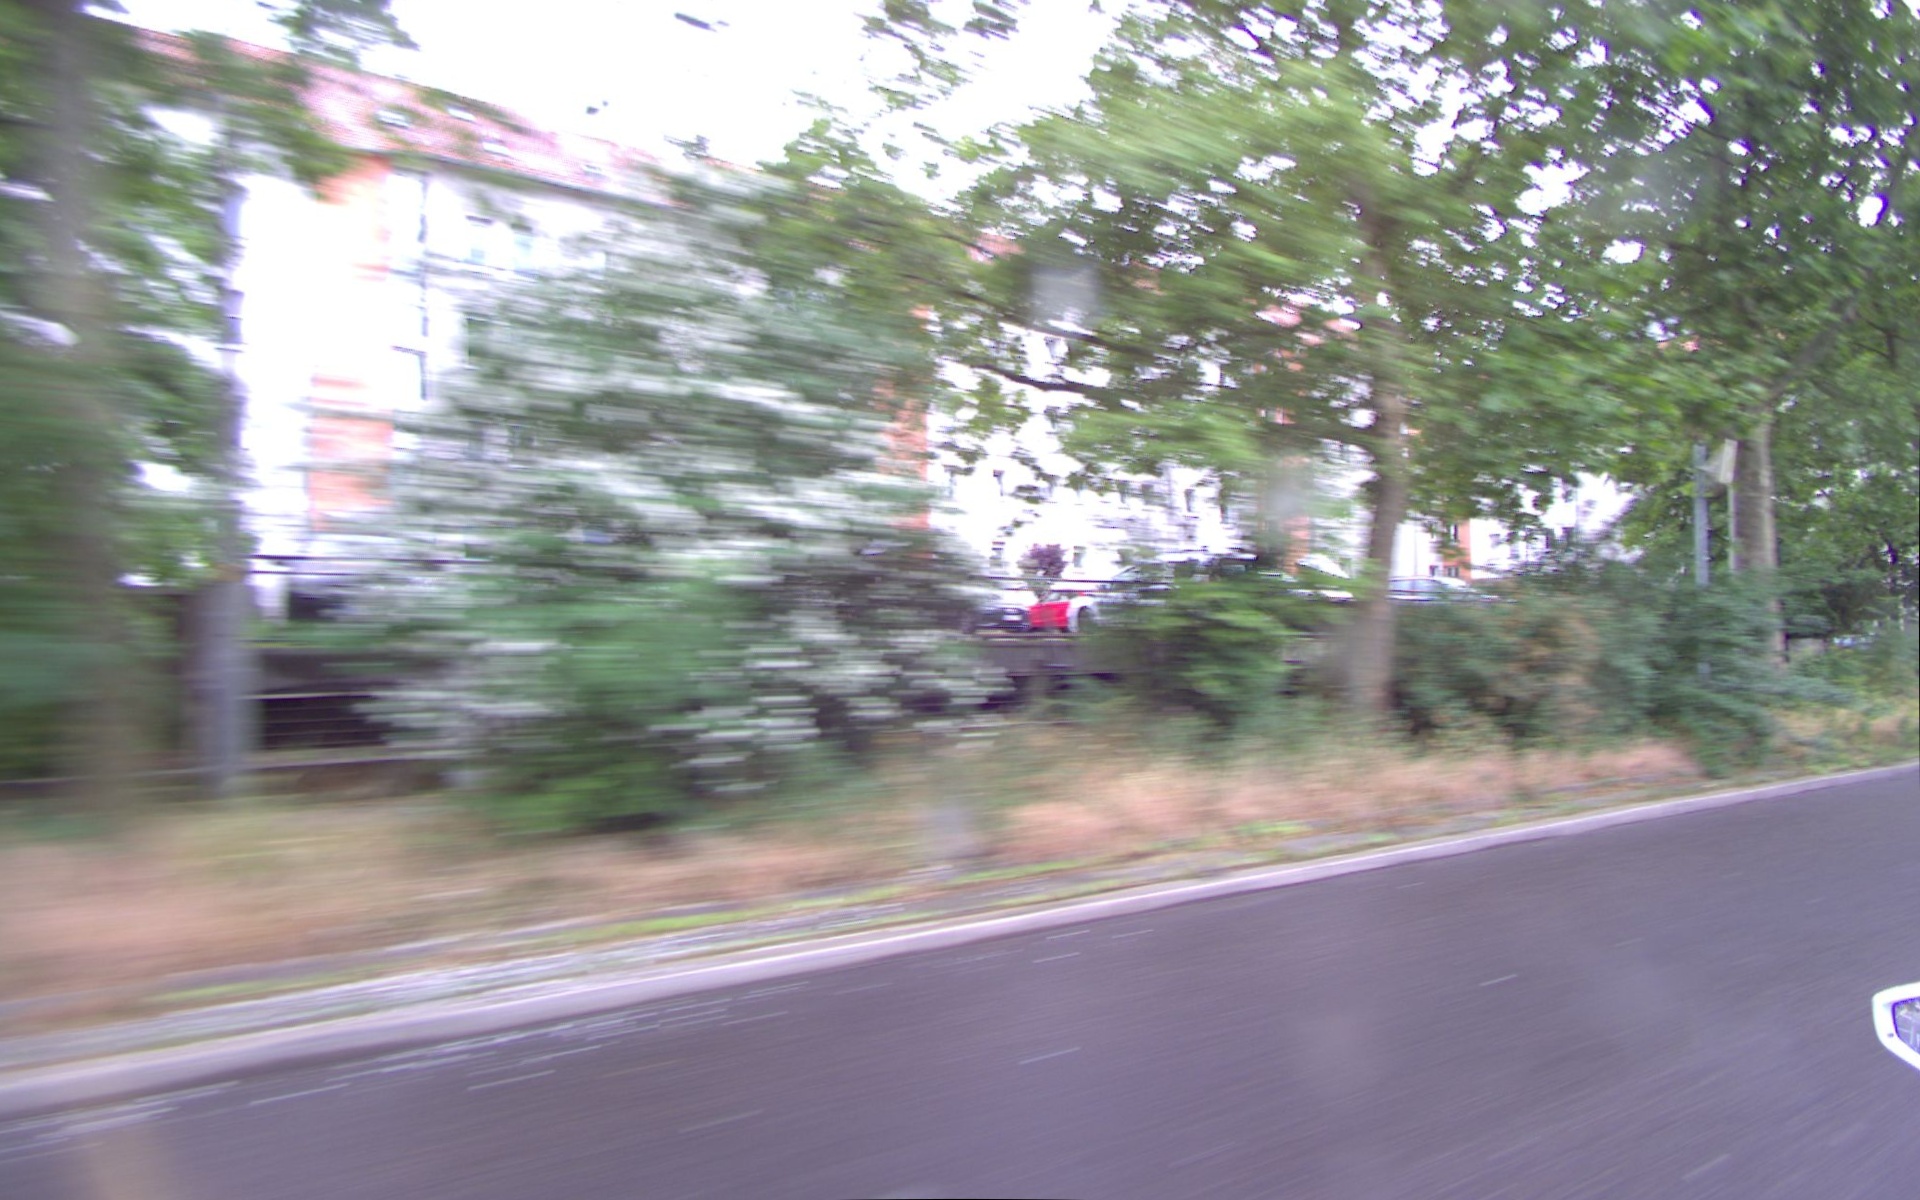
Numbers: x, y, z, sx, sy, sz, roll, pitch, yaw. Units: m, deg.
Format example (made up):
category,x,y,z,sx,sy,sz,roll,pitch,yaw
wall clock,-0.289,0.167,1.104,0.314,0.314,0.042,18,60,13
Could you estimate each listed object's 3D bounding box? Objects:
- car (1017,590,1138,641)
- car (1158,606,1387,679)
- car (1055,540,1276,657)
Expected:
category,x,y,z,sx,sy,sz,roll,pitch,yaw
car,3.527,0.509,30.855,1.646,1.450,3.968,1,-2,-30
car,6.287,0.840,20.698,1.837,1.340,4.421,1,-2,-31
car,3.900,0.038,19.617,1.704,2.040,4.136,1,-2,-38
